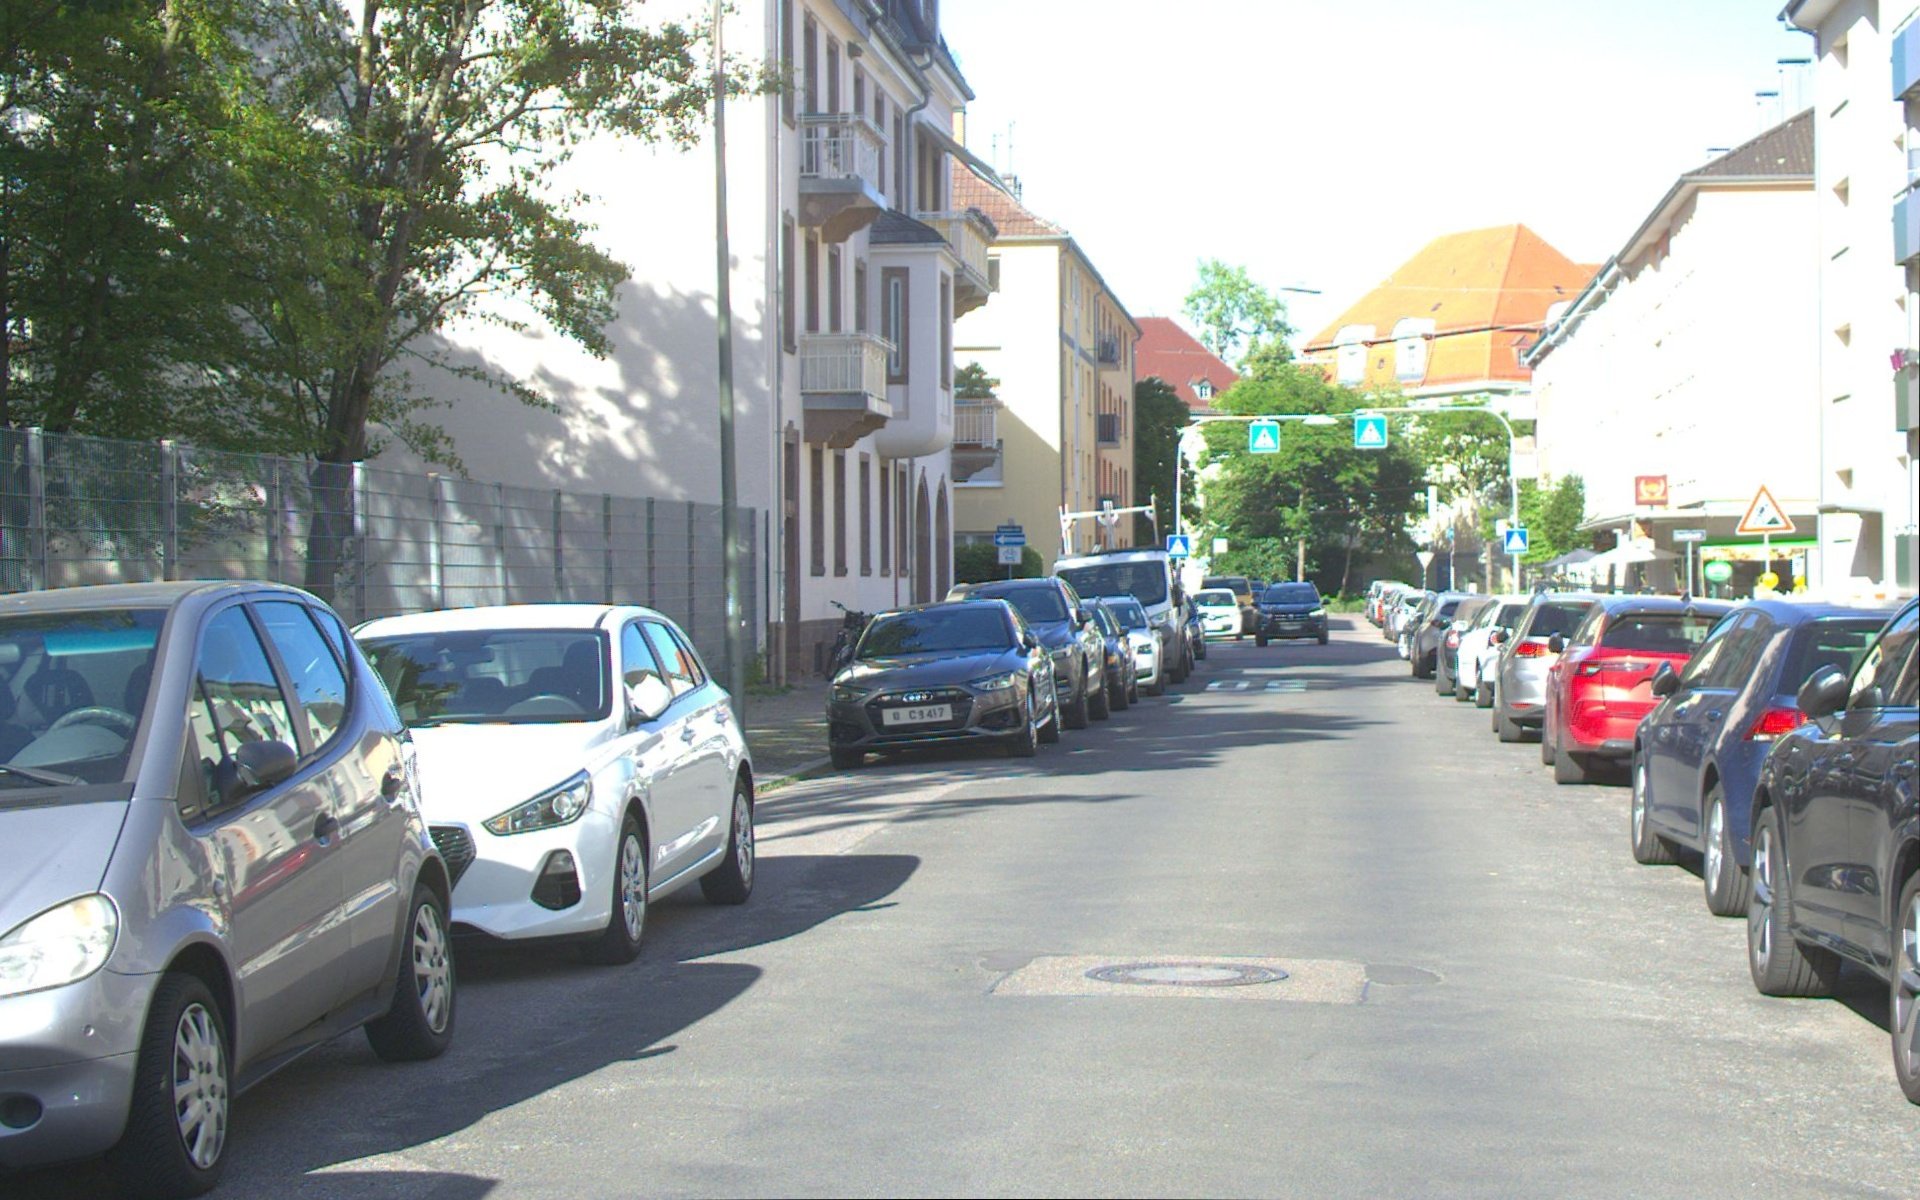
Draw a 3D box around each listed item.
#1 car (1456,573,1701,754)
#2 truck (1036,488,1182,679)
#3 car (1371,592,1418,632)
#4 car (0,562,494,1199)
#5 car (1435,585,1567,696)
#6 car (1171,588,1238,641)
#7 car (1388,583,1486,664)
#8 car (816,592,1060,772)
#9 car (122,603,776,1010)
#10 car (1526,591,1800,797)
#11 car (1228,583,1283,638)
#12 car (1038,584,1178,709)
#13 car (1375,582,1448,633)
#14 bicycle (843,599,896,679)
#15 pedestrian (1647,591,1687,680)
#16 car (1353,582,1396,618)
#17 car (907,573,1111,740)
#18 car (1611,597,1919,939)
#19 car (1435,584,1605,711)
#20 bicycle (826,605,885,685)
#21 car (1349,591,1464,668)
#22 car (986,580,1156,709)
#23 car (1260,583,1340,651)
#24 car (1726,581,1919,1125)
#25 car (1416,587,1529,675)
[{"bbox_3d":[5.969,0.576,33.631,1.899,1.616,4.601,1,0,5],"label":"car"},{"bbox_3d":[2.541,-0.249,57.489,2.259,2.976,7.275,0,0,3],"label":"truck"},{"bbox_3d":[16.292,0.440,129.065,1.638,1.436,3.418,0,0,5],"label":"car"},{"bbox_3d":[-2.539,0.779,9.797,1.564,1.637,3.615,-4,0,5],"label":"car"},{"bbox_3d":[7.764,0.556,49.558,1.688,1.462,3.582,2,1,7],"label":"car"},{"bbox_3d":[7.342,0.414,102.846,1.792,1.475,4.098,-1,1,6],"label":"car"},{"bbox_3d":[8.997,0.445,65.047,1.645,1.455,3.939,1,0,5],"label":"car"},{"bbox_3d":[-0.126,0.695,31.576,1.794,1.466,4.501,-2,0,5],"label":"car"},{"bbox_3d":[-2.022,0.774,14.844,1.794,1.440,4.119,-2,0,6],"label":"car"},{"bbox_3d":[5.306,0.656,26.406,1.753,1.439,4.521,0,0,8],"label":"car"},{"bbox_3d":[9.801,0.345,113.748,1.698,1.773,4.097,0,0,6],"label":"car"},{"bbox_3d":[2.223,0.638,50.478,1.792,1.535,4.641,-6,0,4],"label":"car"},{"bbox_3d":[12.784,0.198,97.470,1.845,1.436,3.418,0,0,4],"label":"car"},{"bbox_3d":[-1.507,0.646,57.721,0.569,1.275,2.340,0,1,6],"label":"bicycle"},{"bbox_3d":[11.515,0.577,55.988,0.575,1.429,0.471,-2,1,8],"label":"pedestrian"},{"bbox_3d":[16.860,0.008,139.972,1.638,1.436,3.418,0,0,5],"label":"car"},{"bbox_3d":[0.618,0.584,38.170,1.879,1.658,4.931,-2,0,5],"label":"car"},{"bbox_3d":[4.358,0.732,16.965,1.752,1.476,4.079,0,0,4],"label":"car"},{"bbox_3d":[7.304,0.594,45.114,1.686,1.458,3.819,5,0,3],"label":"car"},{"bbox_3d":[-1.658,0.705,54.796,0.629,1.199,2.340,0,1,6],"label":"bicycle"},{"bbox_3d":[9.148,0.602,70.747,1.854,1.518,4.777,1,0,1],"label":"car"},{"bbox_3d":[1.473,0.550,44.111,1.792,1.557,4.458,1,0,7],"label":"car"},{"bbox_3d":[8.506,0.409,85.756,1.822,1.628,4.255,-1,0,8],"label":"car"},{"bbox_3d":[3.702,0.726,11.080,1.752,1.554,4.254,0,0,4],"label":"car"},{"bbox_3d":[8.798,0.511,59.289,1.792,1.466,4.338,0,0,7],"label":"car"}]
